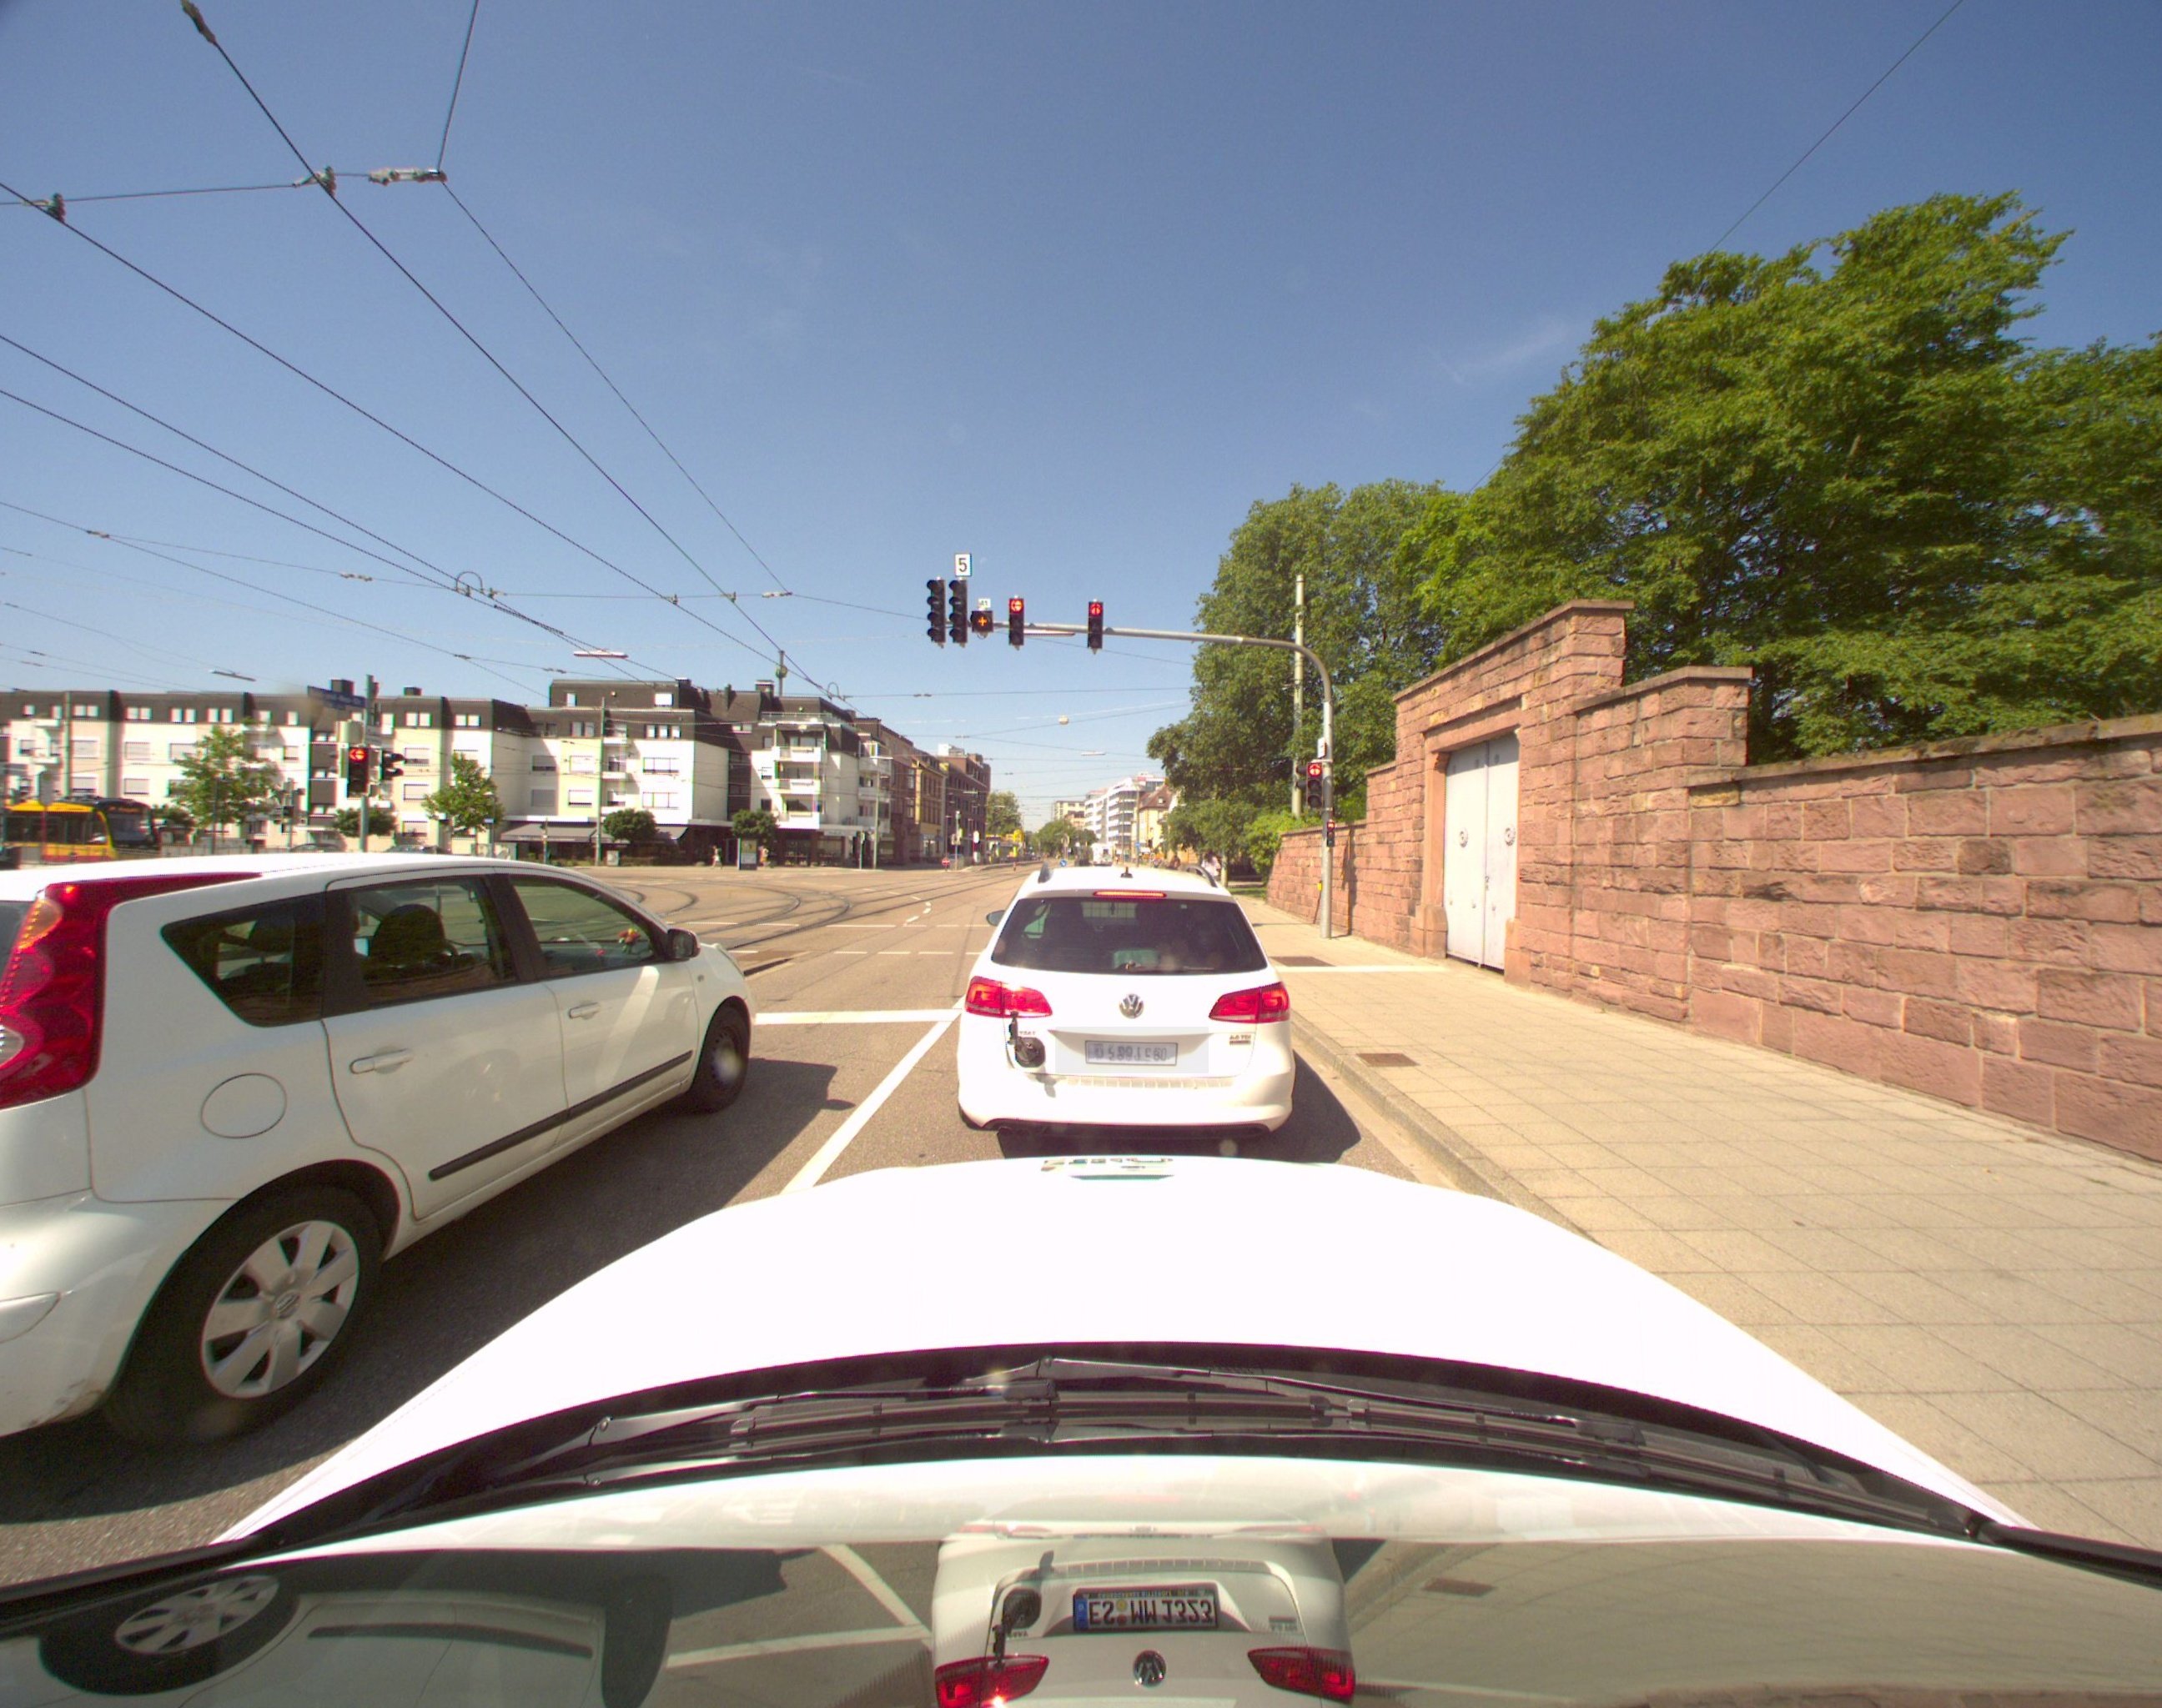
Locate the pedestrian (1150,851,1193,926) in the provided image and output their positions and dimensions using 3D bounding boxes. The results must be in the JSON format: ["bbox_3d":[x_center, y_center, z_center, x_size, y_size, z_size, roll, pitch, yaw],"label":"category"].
[{"bbox_3d":[1.953,0.725,17.625,0.746,1.571,0.673,-1,0,-11],"label":"pedestrian"}]

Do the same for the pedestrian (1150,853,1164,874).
[{"bbox_3d":[6.274,0.790,67.502,0.863,1.743,0.970,-1,-1,-15],"label":"pedestrian"}]

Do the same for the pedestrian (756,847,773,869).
[{"bbox_3d":[-24.893,0.312,64.020,0.980,1.743,0.853,0,-2,-45],"label":"pedestrian"}]

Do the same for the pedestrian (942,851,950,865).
[{"bbox_3d":[-17.624,0.559,106.160,0.860,1.743,0.973,-1,-1,-4],"label":"pedestrian"}]

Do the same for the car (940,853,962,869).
[{"bbox_3d":[-13.862,0.795,86.942,1.736,1.618,3.997,-1,-1,-1],"label":"car"}]

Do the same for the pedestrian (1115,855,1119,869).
[{"bbox_3d":[6.378,1.422,144.867,0.687,2.325,1.233,-1,-1,3],"label":"pedestrian"}]

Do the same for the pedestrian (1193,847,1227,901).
[{"bbox_3d":[4.086,0.635,25.809,0.946,1.651,0.978,-1,-1,14],"label":"pedestrian"}]

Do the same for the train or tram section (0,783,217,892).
[{"bbox_3d":[-54.720,-0.682,41.519,16.149,5.150,4.735,-1,-1,0],"label":"train or tram section"}]

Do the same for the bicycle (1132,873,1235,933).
[{"bbox_3d":[2.144,1.011,17.096,2.019,1.090,0.708,-2,1,-10],"label":"bicycle"}]

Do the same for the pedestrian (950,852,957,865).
[{"bbox_3d":[-17.591,0.673,112.273,0.860,1.743,0.973,-1,-1,-4],"label":"pedestrian"}]

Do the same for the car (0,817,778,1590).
[{"bbox_3d":[-2.909,0.693,3.554,1.636,1.566,3.805,-1,1,1],"label":"car"}]

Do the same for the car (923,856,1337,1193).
[{"bbox_3d":[0.272,0.748,5.565,1.801,1.448,4.001,0,0,1],"label":"car"}]

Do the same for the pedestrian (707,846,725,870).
[{"bbox_3d":[-27.056,0.293,60.312,0.980,1.743,0.854,0,-2,-44],"label":"pedestrian"}]

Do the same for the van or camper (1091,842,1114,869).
[{"bbox_3d":[2.529,0.181,97.814,2.559,3.093,5.699,-1,-1,-1],"label":"van or camper"}]
